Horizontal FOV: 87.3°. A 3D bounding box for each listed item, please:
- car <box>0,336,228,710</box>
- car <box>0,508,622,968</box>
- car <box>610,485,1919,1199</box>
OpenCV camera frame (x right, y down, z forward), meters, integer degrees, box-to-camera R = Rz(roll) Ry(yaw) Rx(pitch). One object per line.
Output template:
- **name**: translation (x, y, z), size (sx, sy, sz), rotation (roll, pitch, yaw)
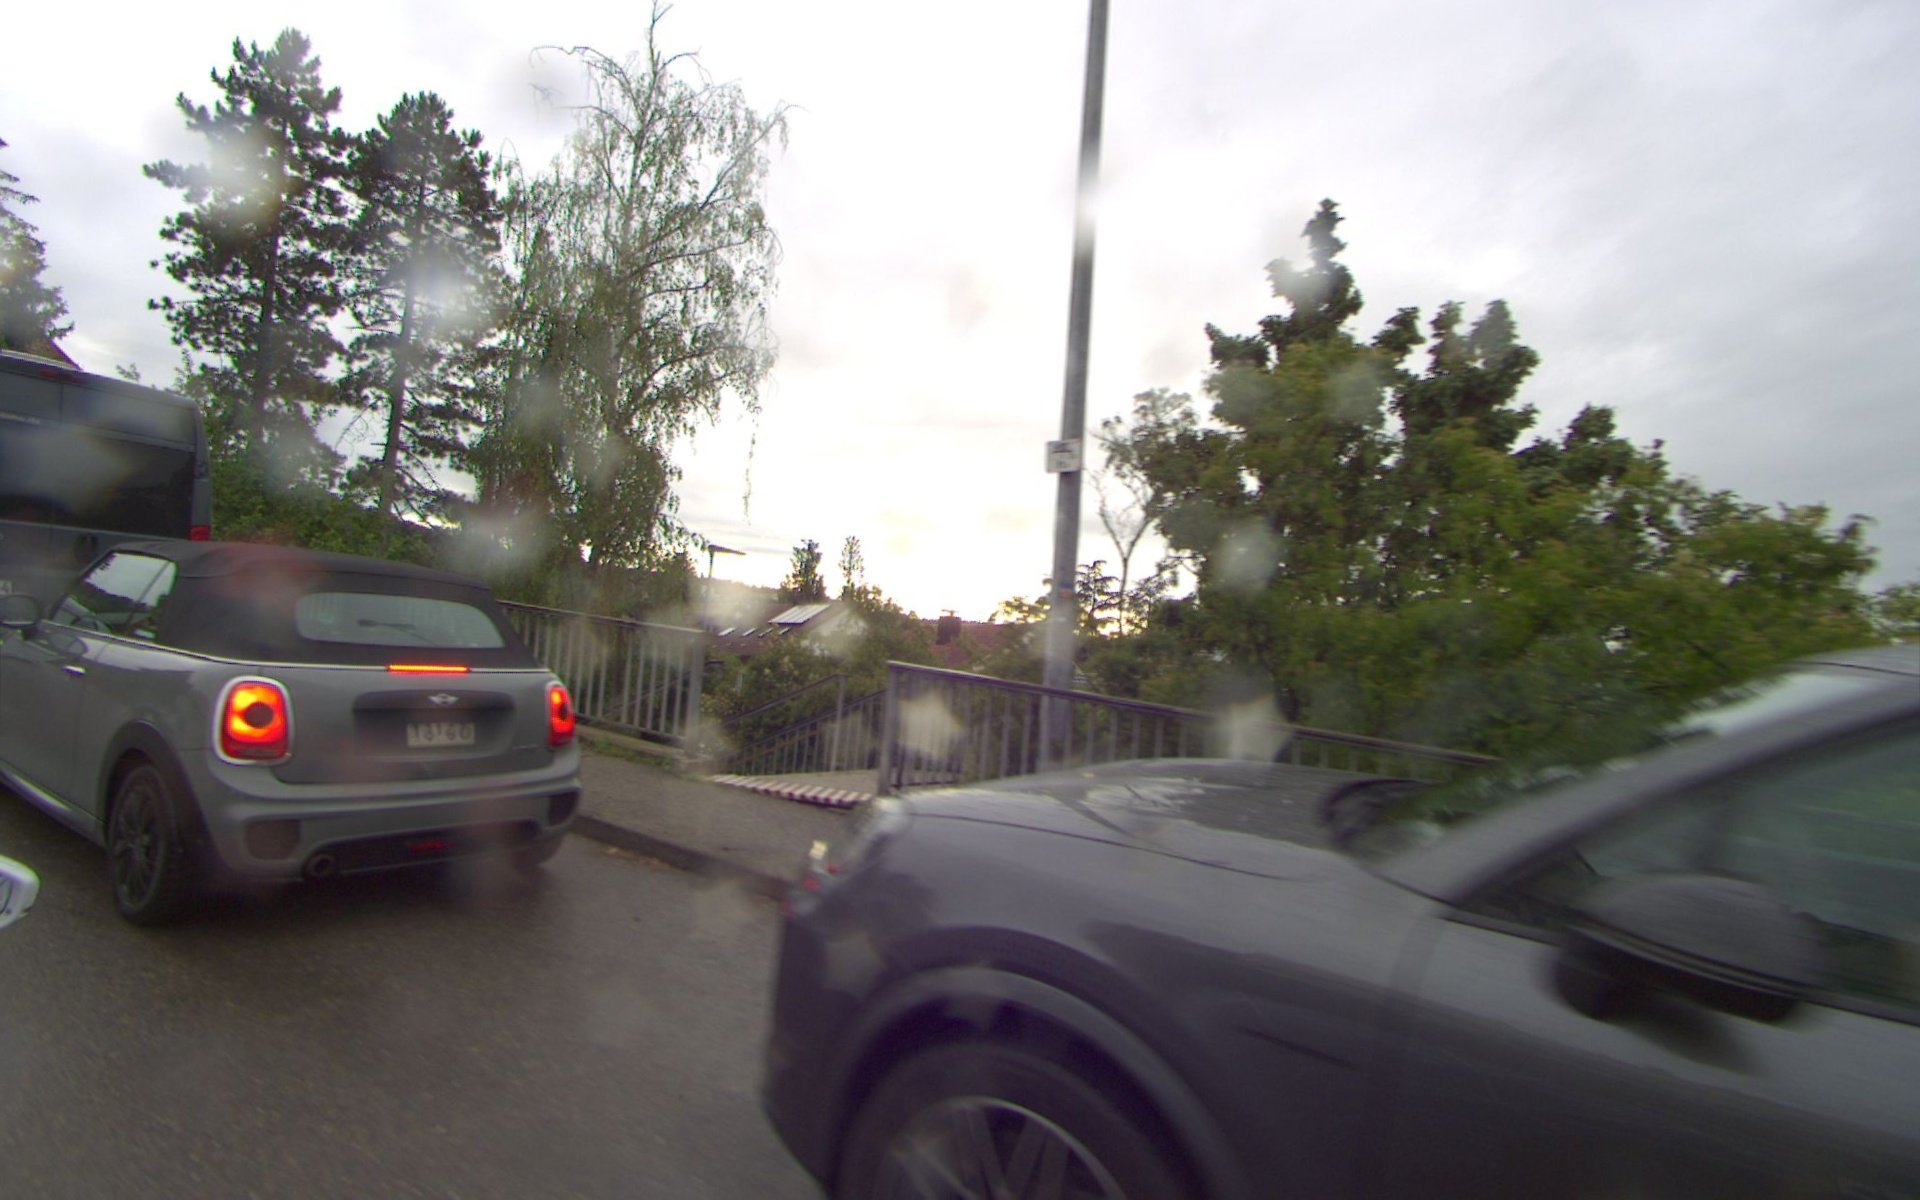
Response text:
- **car**: translation (-8.905, -0.753, 8.638), size (5.858, 2.536, 2.034), rotation (6, -1, 32)
- **car**: translation (-3.633, 0.411, 5.047), size (3.736, 1.446, 1.591), rotation (6, -1, 33)
- **car**: translation (1.747, 0.874, 1.759), size (4.618, 1.692, 1.938), rotation (6, -1, 33)
